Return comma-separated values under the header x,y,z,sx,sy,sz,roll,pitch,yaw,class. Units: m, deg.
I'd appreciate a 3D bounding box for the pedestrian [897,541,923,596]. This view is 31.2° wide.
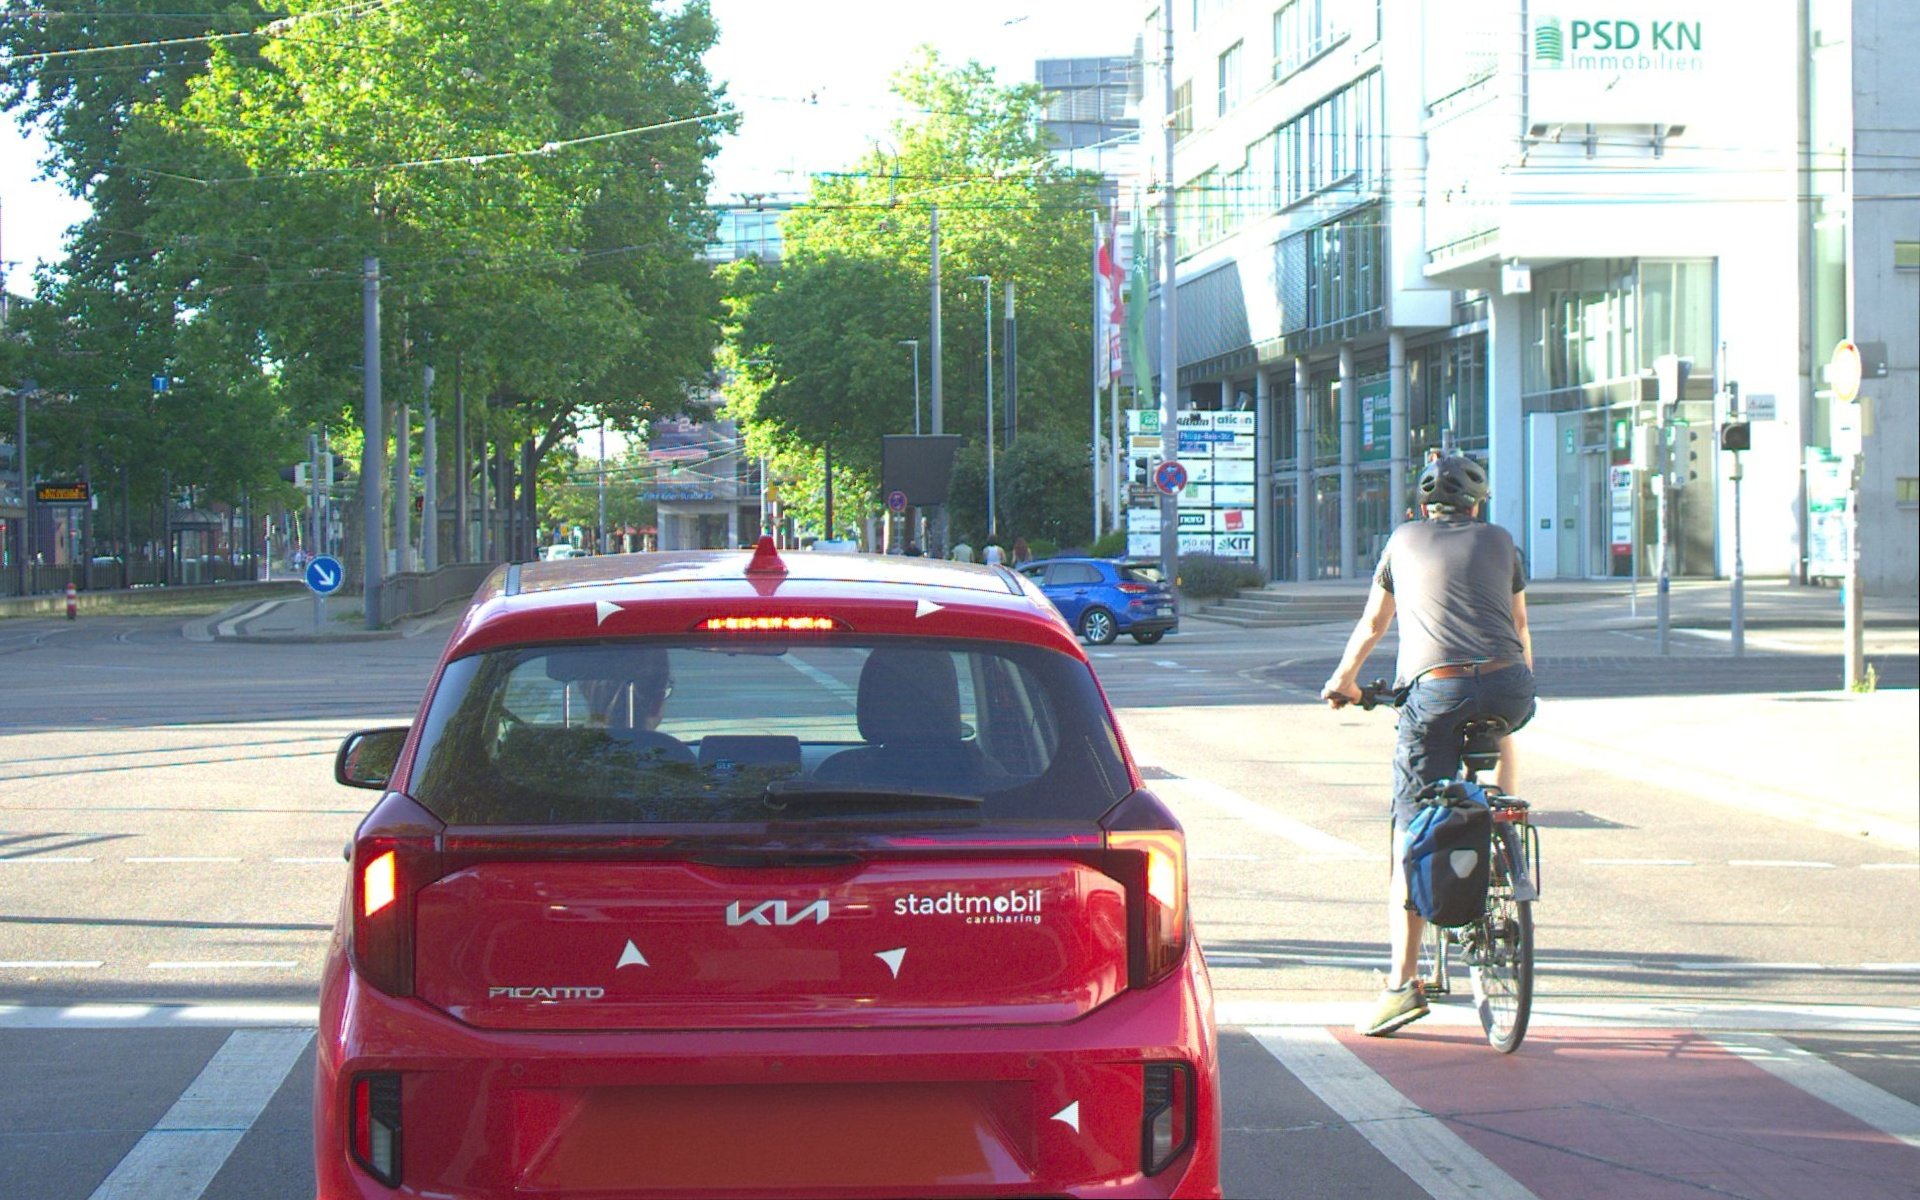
x,y,z,sx,sy,sz,roll,pitch,yaw,class
-1.578,-0.984,107.830,0.742,1.710,0.748,-1,1,-4,pedestrian

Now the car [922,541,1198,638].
x,y,z,sx,sy,sz,roll,pitch,yaw,class
1.677,-0.175,58.055,4.266,1.562,1.847,0,1,28,car

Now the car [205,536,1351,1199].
x,y,z,sx,sy,sz,roll,pitch,yaw,class
-0.450,0.616,7.409,1.839,1.484,3.717,-1,1,-5,car

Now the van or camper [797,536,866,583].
x,y,z,sx,sy,sz,roll,pitch,yaw,class
-4.975,-1.583,132.792,2.145,1.744,4.433,-1,1,-8,van or camper

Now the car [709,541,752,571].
x,y,z,sx,sy,sz,roll,pitch,yaw,class
-12.077,-2.332,180.878,1.884,1.523,4.433,-1,1,-8,car

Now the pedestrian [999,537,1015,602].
x,y,z,sx,sy,sz,roll,pitch,yaw,class
1.129,-0.734,82.323,0.294,1.556,0.356,-1,1,-9,pedestrian

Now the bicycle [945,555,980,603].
x,y,z,sx,sy,sz,roll,pitch,yaw,class
0.065,-0.528,86.458,0.792,1.157,2.500,-1,1,2,bicycle

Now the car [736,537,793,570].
x,y,z,sx,sy,sz,roll,pitch,yaw,class
-9.511,-2.285,166.969,2.478,1.523,4.433,-1,1,-7,car

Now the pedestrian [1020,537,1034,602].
x,y,z,sx,sy,sz,roll,pitch,yaw,class
1.602,-0.736,82.413,0.294,1.556,0.314,-1,1,-4,pedestrian

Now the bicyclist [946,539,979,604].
x,y,z,sx,sy,sz,roll,pitch,yaw,class
0.057,-0.719,86.394,0.785,1.629,0.639,0,1,3,bicyclist

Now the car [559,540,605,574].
x,y,z,sx,sy,sz,roll,pitch,yaw,class
-19.373,-2.208,176.031,2.057,1.648,3.493,-1,1,-10,car

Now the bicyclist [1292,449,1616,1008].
x,y,z,sx,sy,sz,roll,pitch,yaw,class
1.518,0.379,10.656,0.743,1.663,0.745,1,1,-12,bicyclist

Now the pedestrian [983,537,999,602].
x,y,z,sx,sy,sz,roll,pitch,yaw,class
0.748,-0.736,82.235,0.294,1.556,0.302,-1,1,-15,pedestrian

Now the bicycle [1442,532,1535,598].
x,y,z,sx,sy,sz,roll,pitch,yaw,class
11.634,-0.770,75.718,1.934,1.438,0.575,-1,1,-6,bicycle

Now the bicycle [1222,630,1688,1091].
x,y,z,sx,sy,sz,roll,pitch,yaw,class
1.488,0.750,10.801,0.743,1.220,2.157,1,1,-11,bicycle
